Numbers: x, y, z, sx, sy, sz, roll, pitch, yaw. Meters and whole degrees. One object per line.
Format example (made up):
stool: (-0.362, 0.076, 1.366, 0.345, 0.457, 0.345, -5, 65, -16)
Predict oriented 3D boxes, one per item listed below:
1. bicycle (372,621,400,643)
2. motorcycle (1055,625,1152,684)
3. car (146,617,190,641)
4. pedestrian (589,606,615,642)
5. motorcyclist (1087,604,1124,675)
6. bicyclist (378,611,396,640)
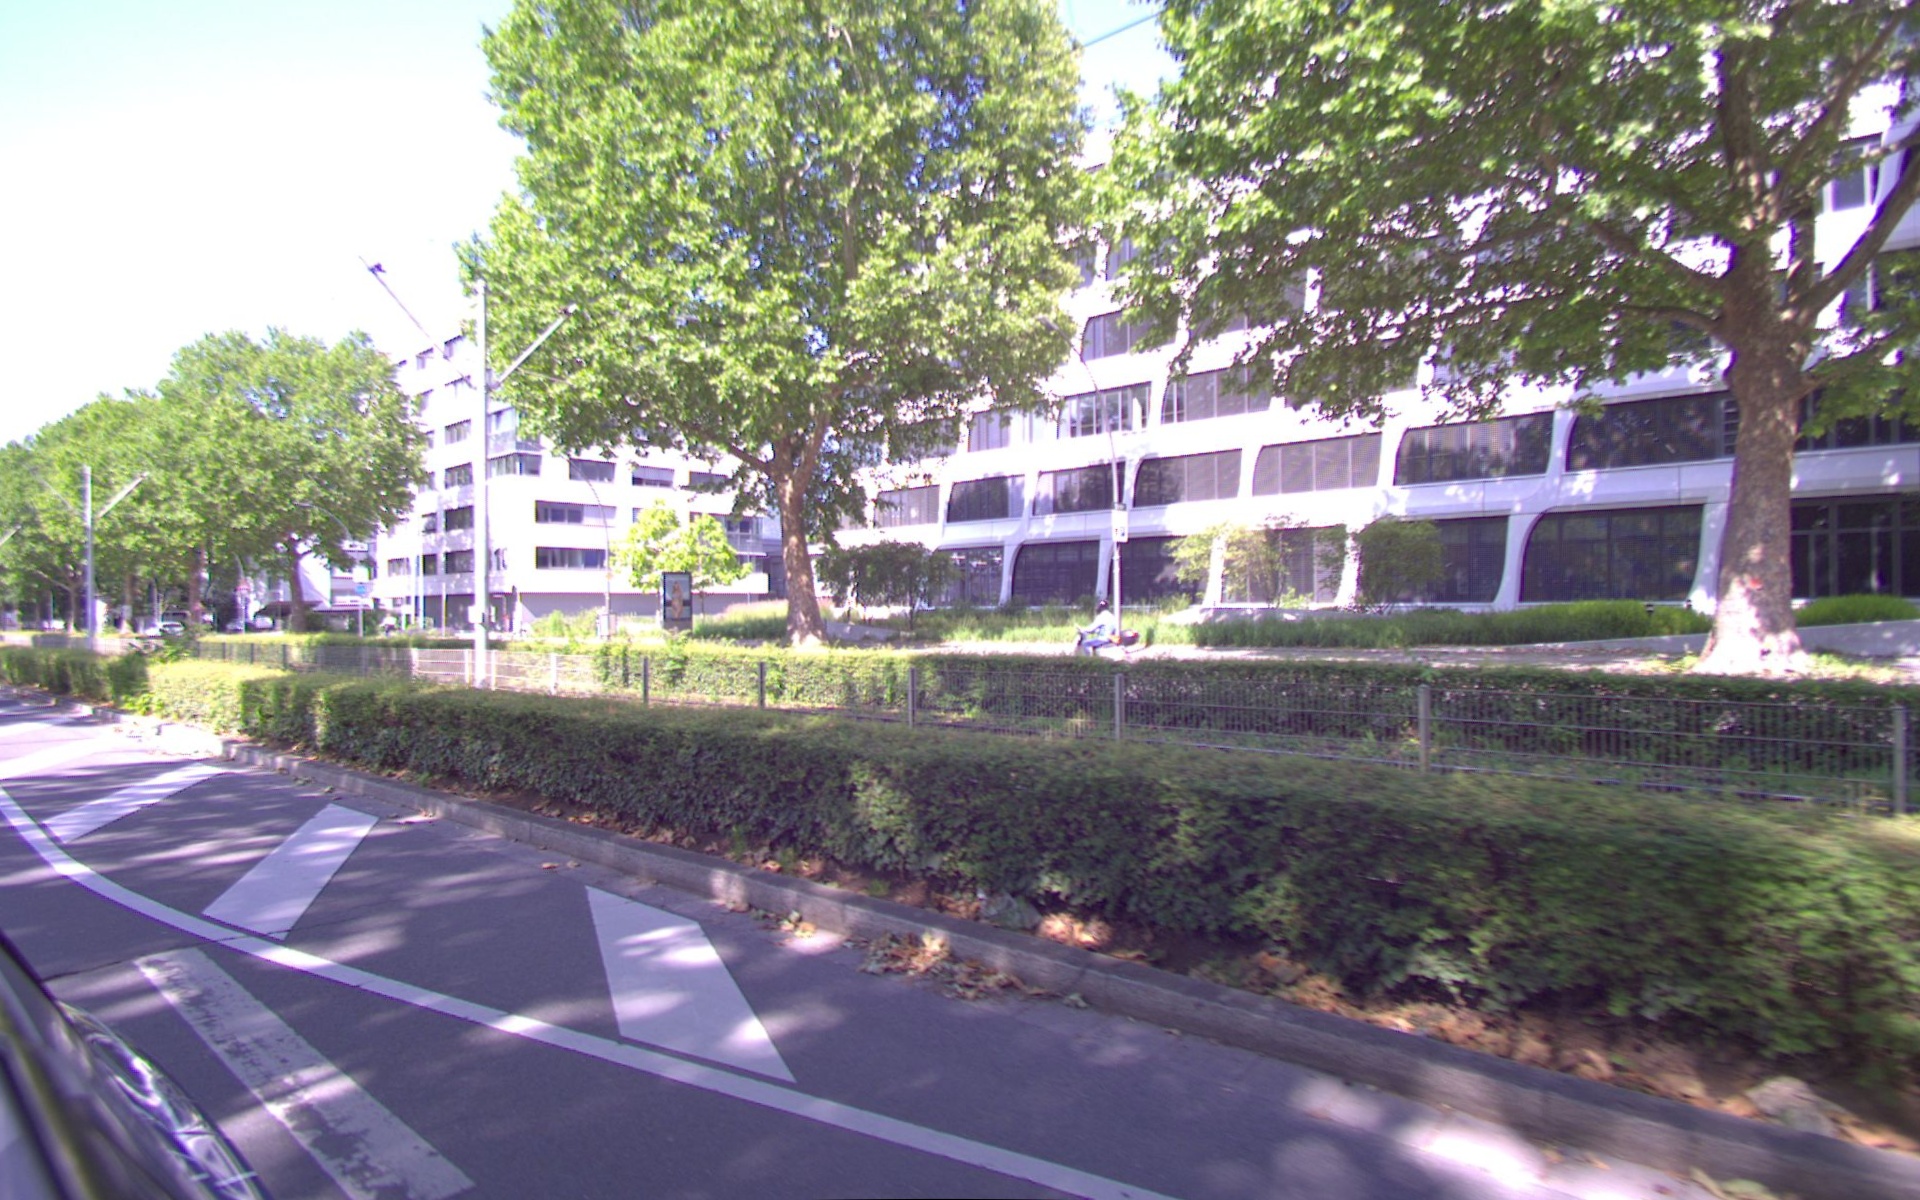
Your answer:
bicycle: (-30.745, 1.715, 54.203, 2.030, 1.133, 0.657, -1, 0, 42)
motorcycle: (2.997, 1.126, 21.309, 1.999, 1.184, 0.626, -1, -1, 42)
car: (-55.432, 2.015, 70.830, 4.017, 1.581, 1.738, -1, 0, 41)
pedestrian: (-16.228, 1.079, 45.845, 1.014, 1.600, 0.712, -1, 0, 41)
motorcyclist: (3.062, 0.818, 21.282, 0.533, 1.468, 0.575, -1, -1, 41)
bicyclist: (-30.656, 1.370, 54.115, 0.641, 1.546, 0.647, -2, -1, 42)
